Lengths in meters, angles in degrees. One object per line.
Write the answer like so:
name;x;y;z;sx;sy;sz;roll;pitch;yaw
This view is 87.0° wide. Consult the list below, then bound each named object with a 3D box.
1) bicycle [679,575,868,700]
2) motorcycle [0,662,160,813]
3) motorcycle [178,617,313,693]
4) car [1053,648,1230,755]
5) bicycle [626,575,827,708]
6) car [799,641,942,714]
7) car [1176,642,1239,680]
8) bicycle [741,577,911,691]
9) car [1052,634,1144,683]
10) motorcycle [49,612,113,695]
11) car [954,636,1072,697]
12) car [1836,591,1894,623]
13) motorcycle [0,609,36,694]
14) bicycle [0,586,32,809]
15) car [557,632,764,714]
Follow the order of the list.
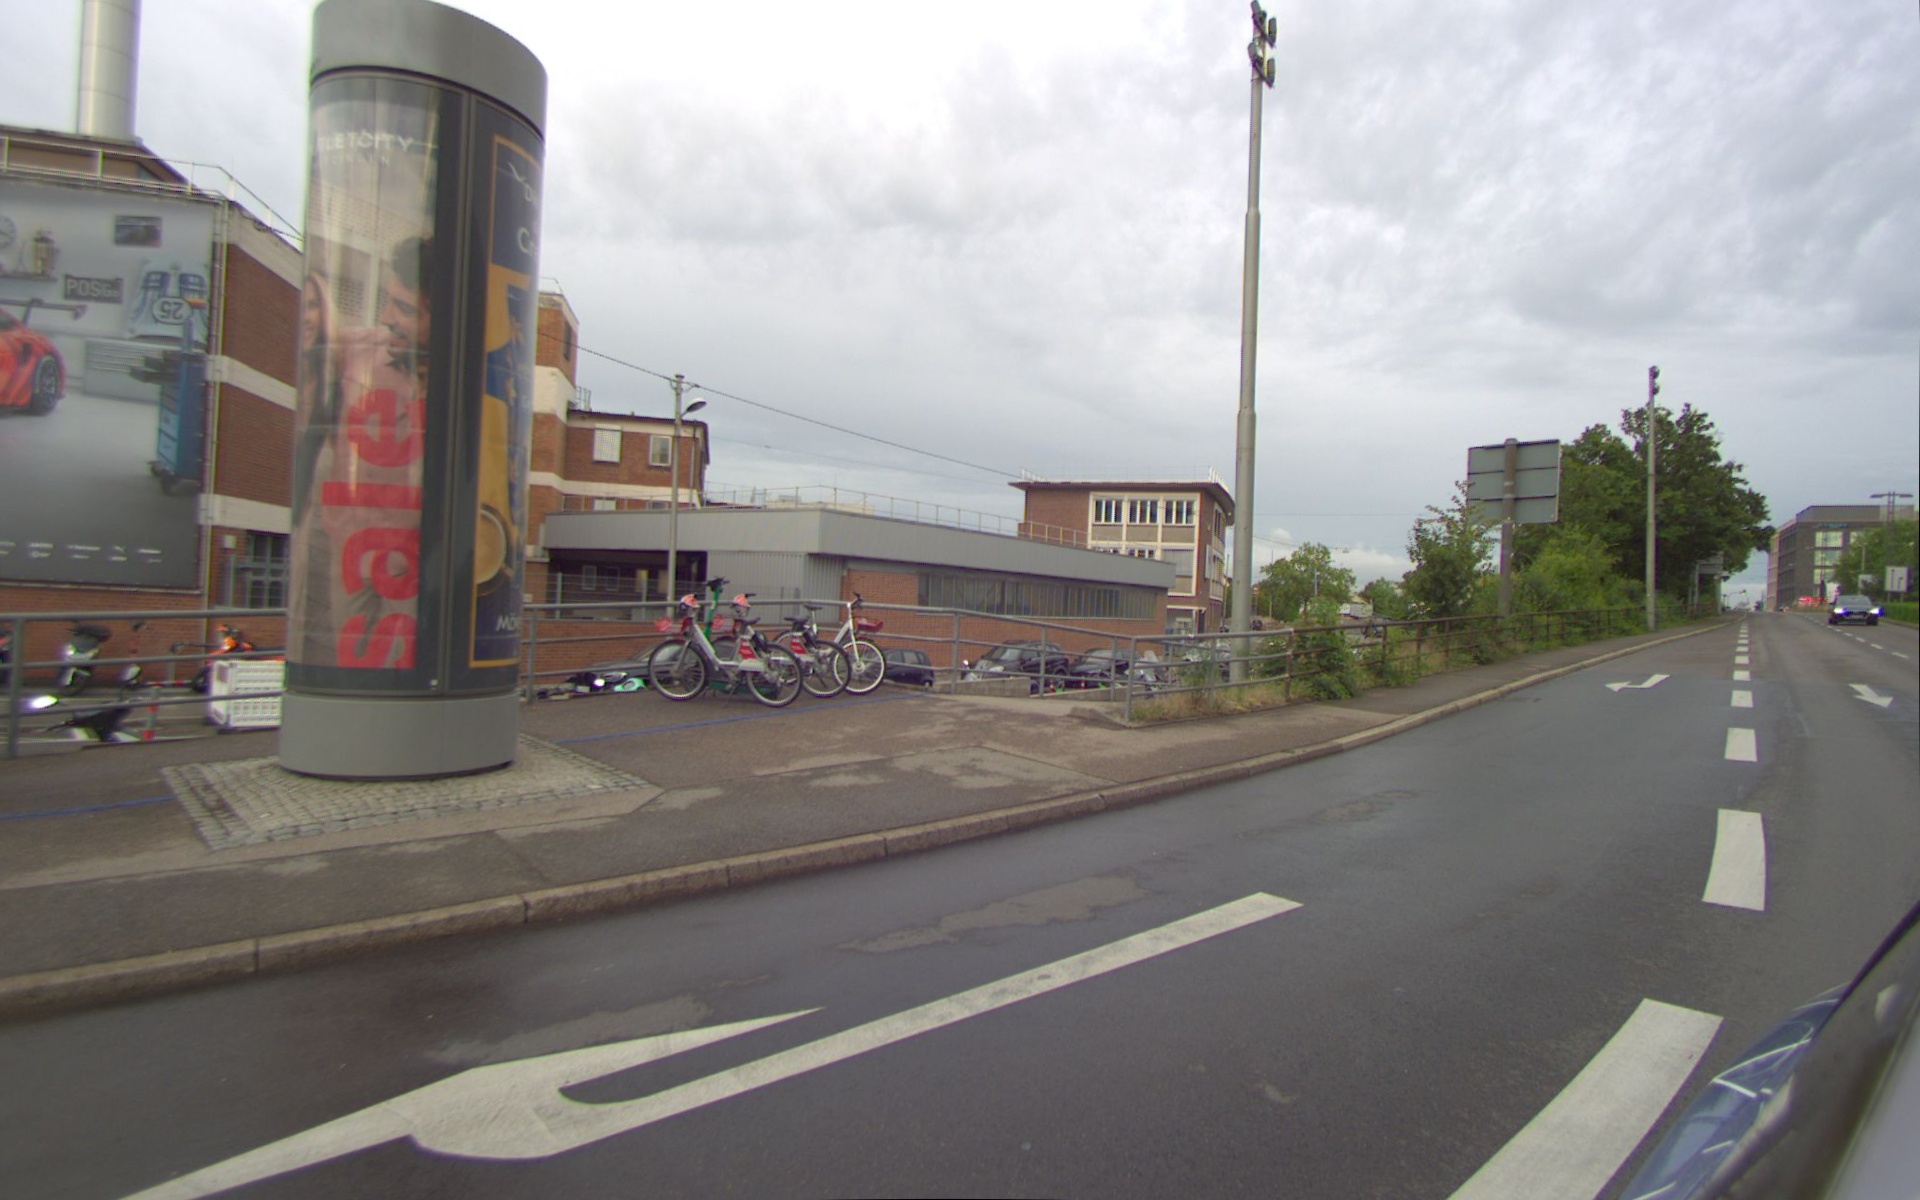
bicycle;-1.995;0.377;10.886;1.901;1.239;0.598;2;1;10
motorcycle;-7.107;1.016;7.508;0.696;1.002;1.725;2;0;40
motorcycle;-13.994;1.080;19.885;1.943;1.325;0.932;3;1;-22
car;3.497;1.802;19.035;1.695;1.574;3.803;1;1;38
bicycle;-2.359;0.391;10.262;1.902;1.239;0.597;2;1;11
car;-2.368;2.036;27.635;1.695;1.648;3.876;1;1;38
car;12.072;2.929;49.239;1.693;1.574;3.807;1;1;36
bicycle;-1.556;0.362;11.694;1.912;1.192;0.594;2;1;24
car;5.182;2.113;37.566;1.695;1.574;3.803;1;1;38
motorcycle;-16.214;0.963;18.702;0.562;1.325;1.873;3;2;-33
car;1.805;2.092;32.941;1.630;1.652;4.368;1;1;38
car;47.668;0.344;53.371;1.832;1.603;4.233;2;1;36
motorcycle;-17.311;0.905;18.283;0.675;1.325;2.023;3;2;-37
bicycle;-6.065;0.535;6.077;1.799;1.176;0.583;3;2;43
car;-6.553;1.577;22.542;1.695;1.630;4.202;0;-3;38
